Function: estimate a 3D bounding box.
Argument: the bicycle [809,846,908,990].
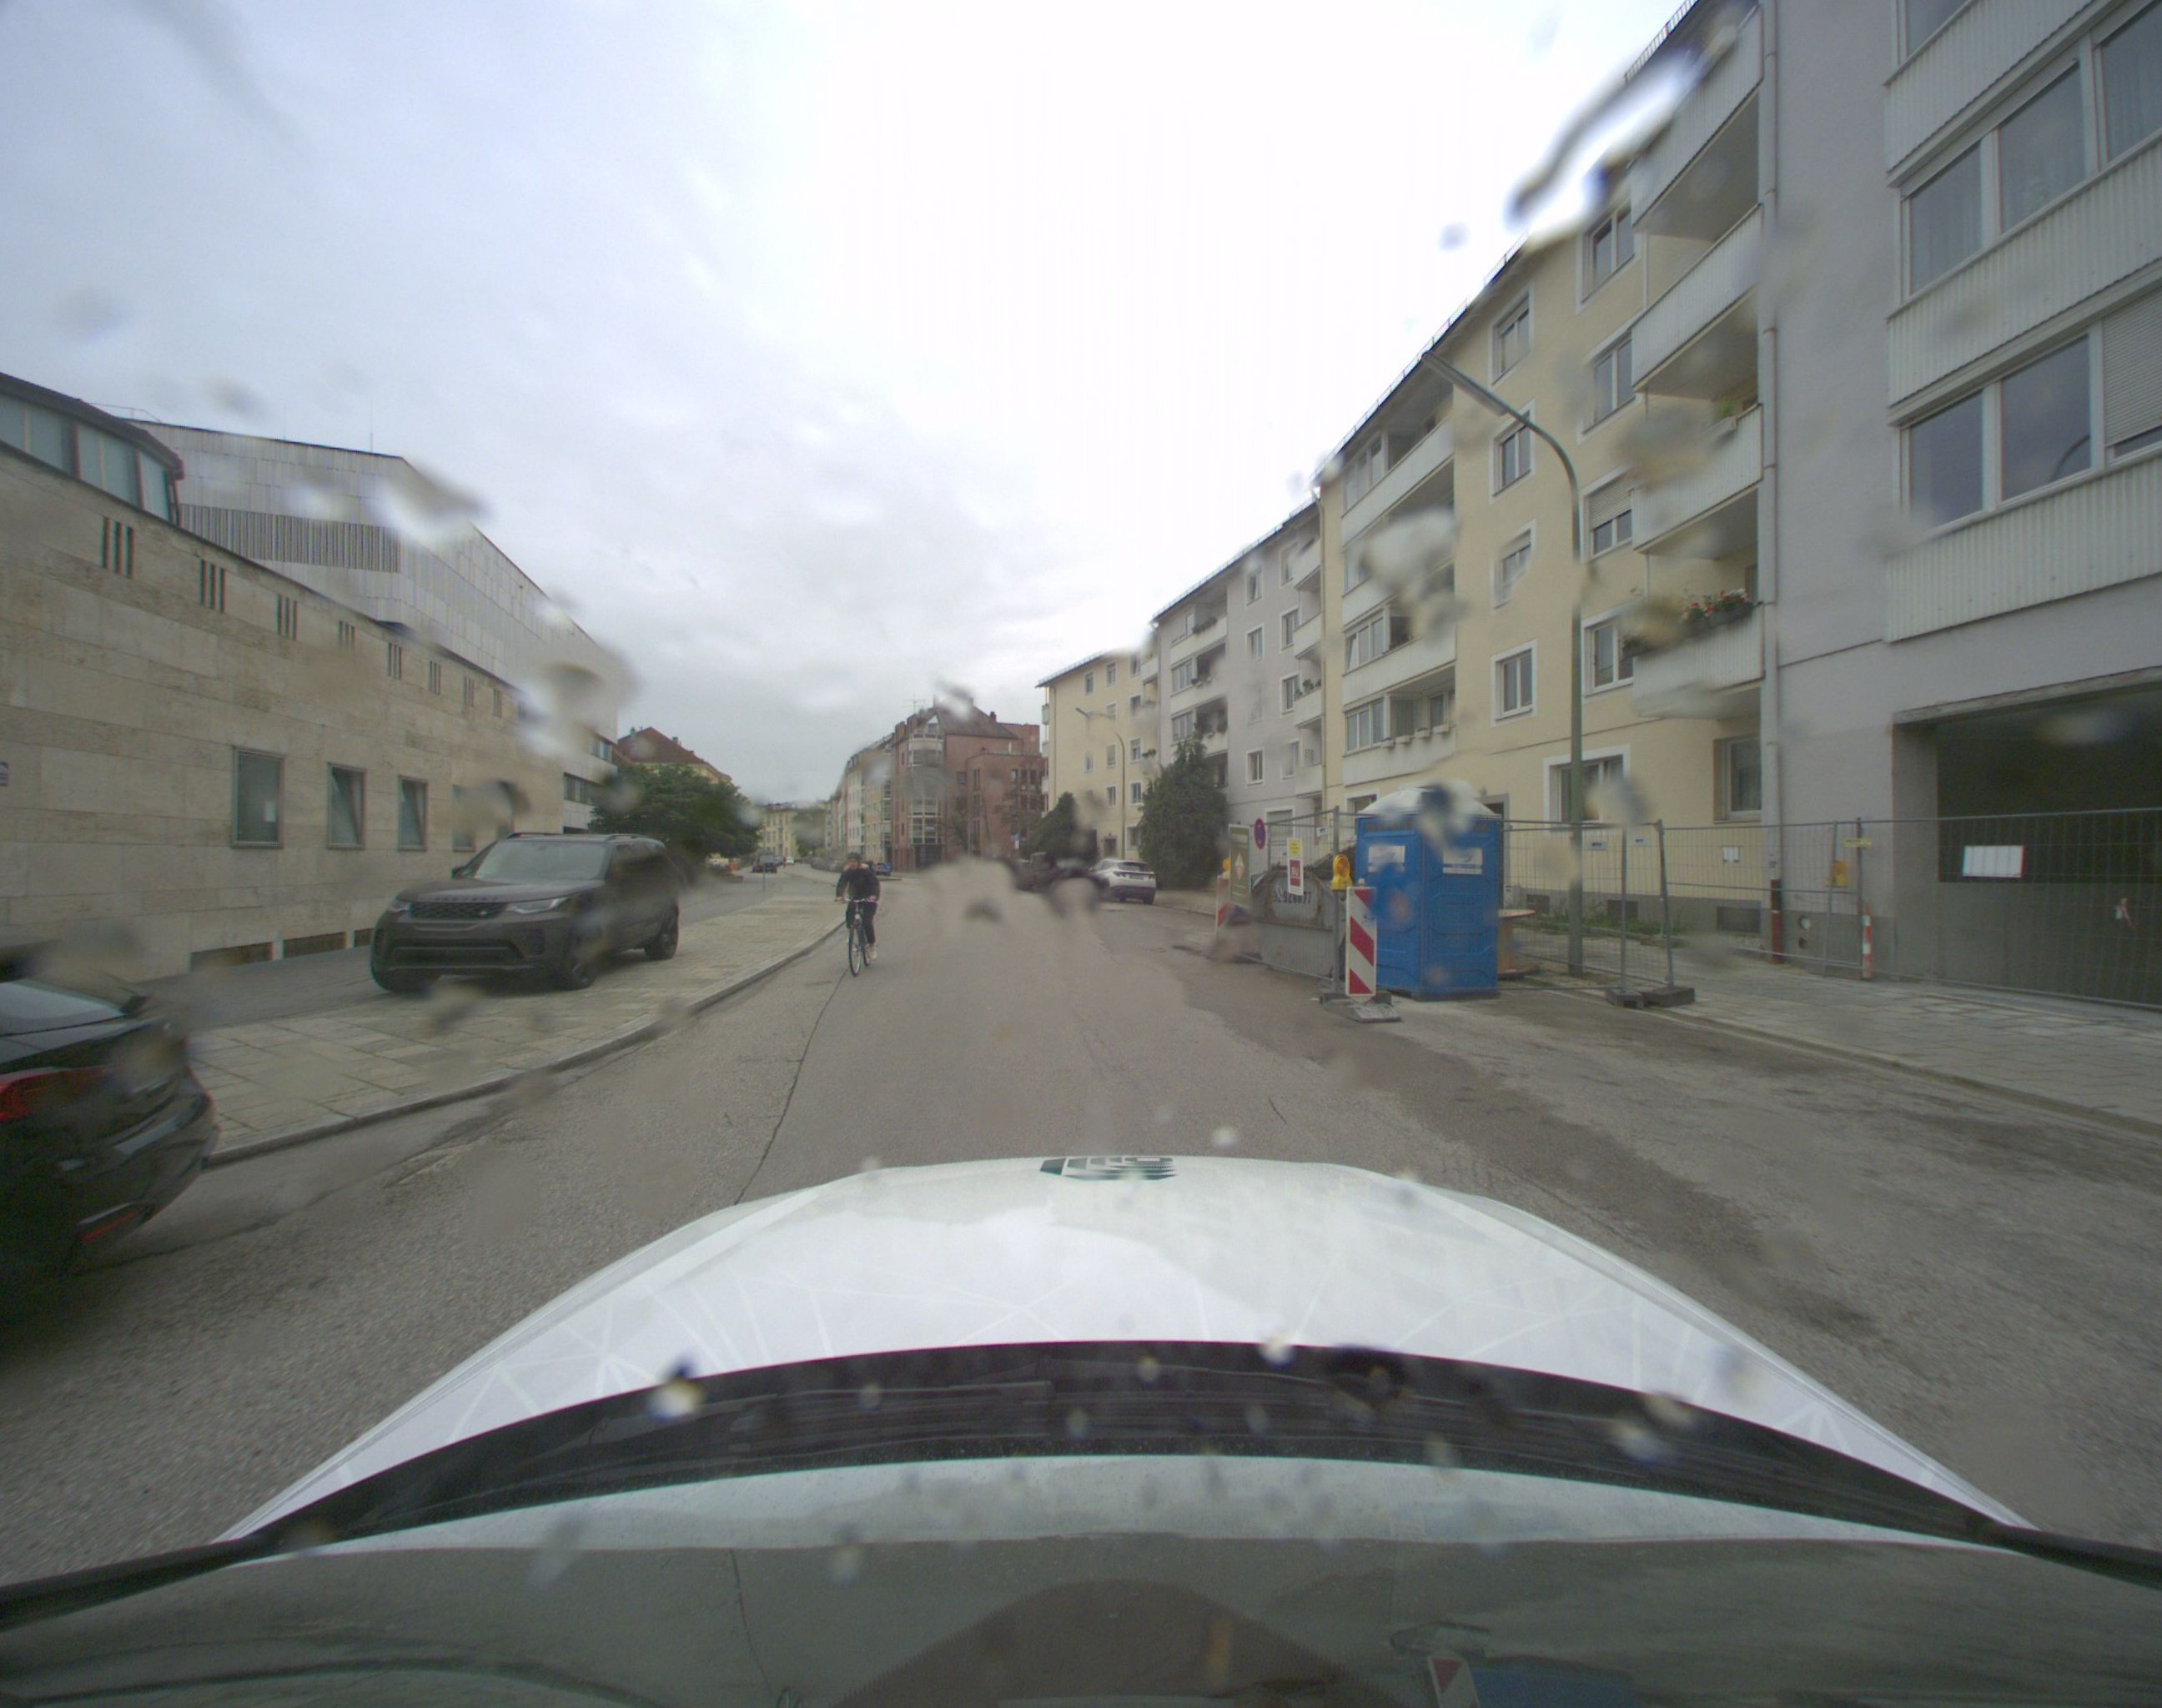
[{"bbox_3d":[-3.079,0.771,11.623,0.794,1.722,3.109,-2,1,-6],"label":"bicycle"}]

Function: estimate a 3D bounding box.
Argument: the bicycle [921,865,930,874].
[{"bbox_3d":[-17.639,1.735,92.468,0.488,1.060,1.978,2,-2,-27],"label":"bicycle"}]

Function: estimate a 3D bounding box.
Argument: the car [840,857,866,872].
[{"bbox_3d":[-27.245,1.209,97.275,1.975,1.602,4.629,2,0,-28],"label":"car"}]

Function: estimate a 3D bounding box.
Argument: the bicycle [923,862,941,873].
[{"bbox_3d":[-16.672,1.491,91.045,1.854,1.147,0.485,2,0,-19],"label":"bicycle"}]

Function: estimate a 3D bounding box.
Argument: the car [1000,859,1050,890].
[{"bbox_3d":[-3.110,1.106,44.742,1.663,1.566,4.486,2,-1,-18],"label":"car"}]

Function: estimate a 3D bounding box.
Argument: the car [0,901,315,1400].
[{"bbox_3d":[-4.889,0.956,2.110,4.026,1.373,1.730,-2,0,-37],"label":"car"}]

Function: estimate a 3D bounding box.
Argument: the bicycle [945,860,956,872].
[{"bbox_3d":[-13.520,1.250,84.339,0.416,1.173,1.368,2,0,20],"label":"bicycle"}]

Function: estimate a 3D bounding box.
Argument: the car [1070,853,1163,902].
[{"bbox_3d":[1.273,0.848,31.250,2.032,1.678,4.584,2,0,-18],"label":"car"}]

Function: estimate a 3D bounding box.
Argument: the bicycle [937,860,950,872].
[{"bbox_3d":[-14.360,1.253,85.031,0.537,1.248,2.389,2,-2,-31],"label":"bicycle"}]

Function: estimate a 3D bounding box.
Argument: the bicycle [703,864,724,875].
[{"bbox_3d":[-36.738,1.512,81.472,1.794,1.033,0.505,2,0,-15],"label":"bicycle"}]

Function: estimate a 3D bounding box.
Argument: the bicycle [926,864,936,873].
[{"bbox_3d":[-17.108,1.642,92.749,0.488,1.060,1.978,2,-1,-27],"label":"bicycle"}]

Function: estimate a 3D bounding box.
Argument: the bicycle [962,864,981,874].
[{"bbox_3d":[-10.603,1.441,78.586,1.708,0.965,0.542,2,0,-25],"label":"bicycle"}]

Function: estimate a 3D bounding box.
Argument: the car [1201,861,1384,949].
[{"bbox_3d":[4.007,0.911,16.326,1.830,1.442,4.614,2,0,-9],"label":"car"}]

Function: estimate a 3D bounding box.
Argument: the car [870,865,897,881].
[{"bbox_3d":[-20.285,1.944,83.565,1.934,1.512,4.356,2,-1,-25],"label":"car"}]

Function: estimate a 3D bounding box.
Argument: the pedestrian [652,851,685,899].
[{"bbox_3d":[-15.180,0.755,29.960,0.793,1.740,0.818,2,0,-8],"label":"pedestrian"}]

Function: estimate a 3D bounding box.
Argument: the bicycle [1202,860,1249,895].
[{"bbox_3d":[6.105,0.975,34.571,0.745,1.367,2.454,-3,1,-21],"label":"bicycle"}]

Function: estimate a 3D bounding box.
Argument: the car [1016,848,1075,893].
[{"bbox_3d":[-1.841,0.769,40.375,1.752,2.081,4.488,2,0,-18],"label":"car"}]

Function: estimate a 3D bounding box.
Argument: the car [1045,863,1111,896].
[{"bbox_3d":[-0.207,1.115,36.020,1.665,1.349,3.776,2,-2,-21],"label":"car"}]

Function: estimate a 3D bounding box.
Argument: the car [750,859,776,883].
[{"bbox_3d":[-38.124,2.037,97.558,2.434,2.715,5.901,-1,-1,-26],"label":"car"}]

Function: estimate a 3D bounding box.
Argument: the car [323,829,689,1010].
[{"bbox_3d":[-6.843,0.630,10.504,1.994,1.772,4.798,0,0,-10],"label":"car"}]

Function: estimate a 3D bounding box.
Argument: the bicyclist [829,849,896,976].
[{"bbox_3d":[-3.102,0.792,11.652,0.747,1.717,1.030,-1,0,-6],"label":"bicyclist"}]

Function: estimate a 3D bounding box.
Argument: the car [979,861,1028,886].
[{"bbox_3d":[-4.800,1.201,49.858,1.762,1.396,4.011,2,-2,-24],"label":"car"}]

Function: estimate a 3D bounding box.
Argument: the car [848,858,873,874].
[{"bbox_3d":[-25.213,1.367,93.108,1.841,1.602,4.227,2,0,-28],"label":"car"}]
